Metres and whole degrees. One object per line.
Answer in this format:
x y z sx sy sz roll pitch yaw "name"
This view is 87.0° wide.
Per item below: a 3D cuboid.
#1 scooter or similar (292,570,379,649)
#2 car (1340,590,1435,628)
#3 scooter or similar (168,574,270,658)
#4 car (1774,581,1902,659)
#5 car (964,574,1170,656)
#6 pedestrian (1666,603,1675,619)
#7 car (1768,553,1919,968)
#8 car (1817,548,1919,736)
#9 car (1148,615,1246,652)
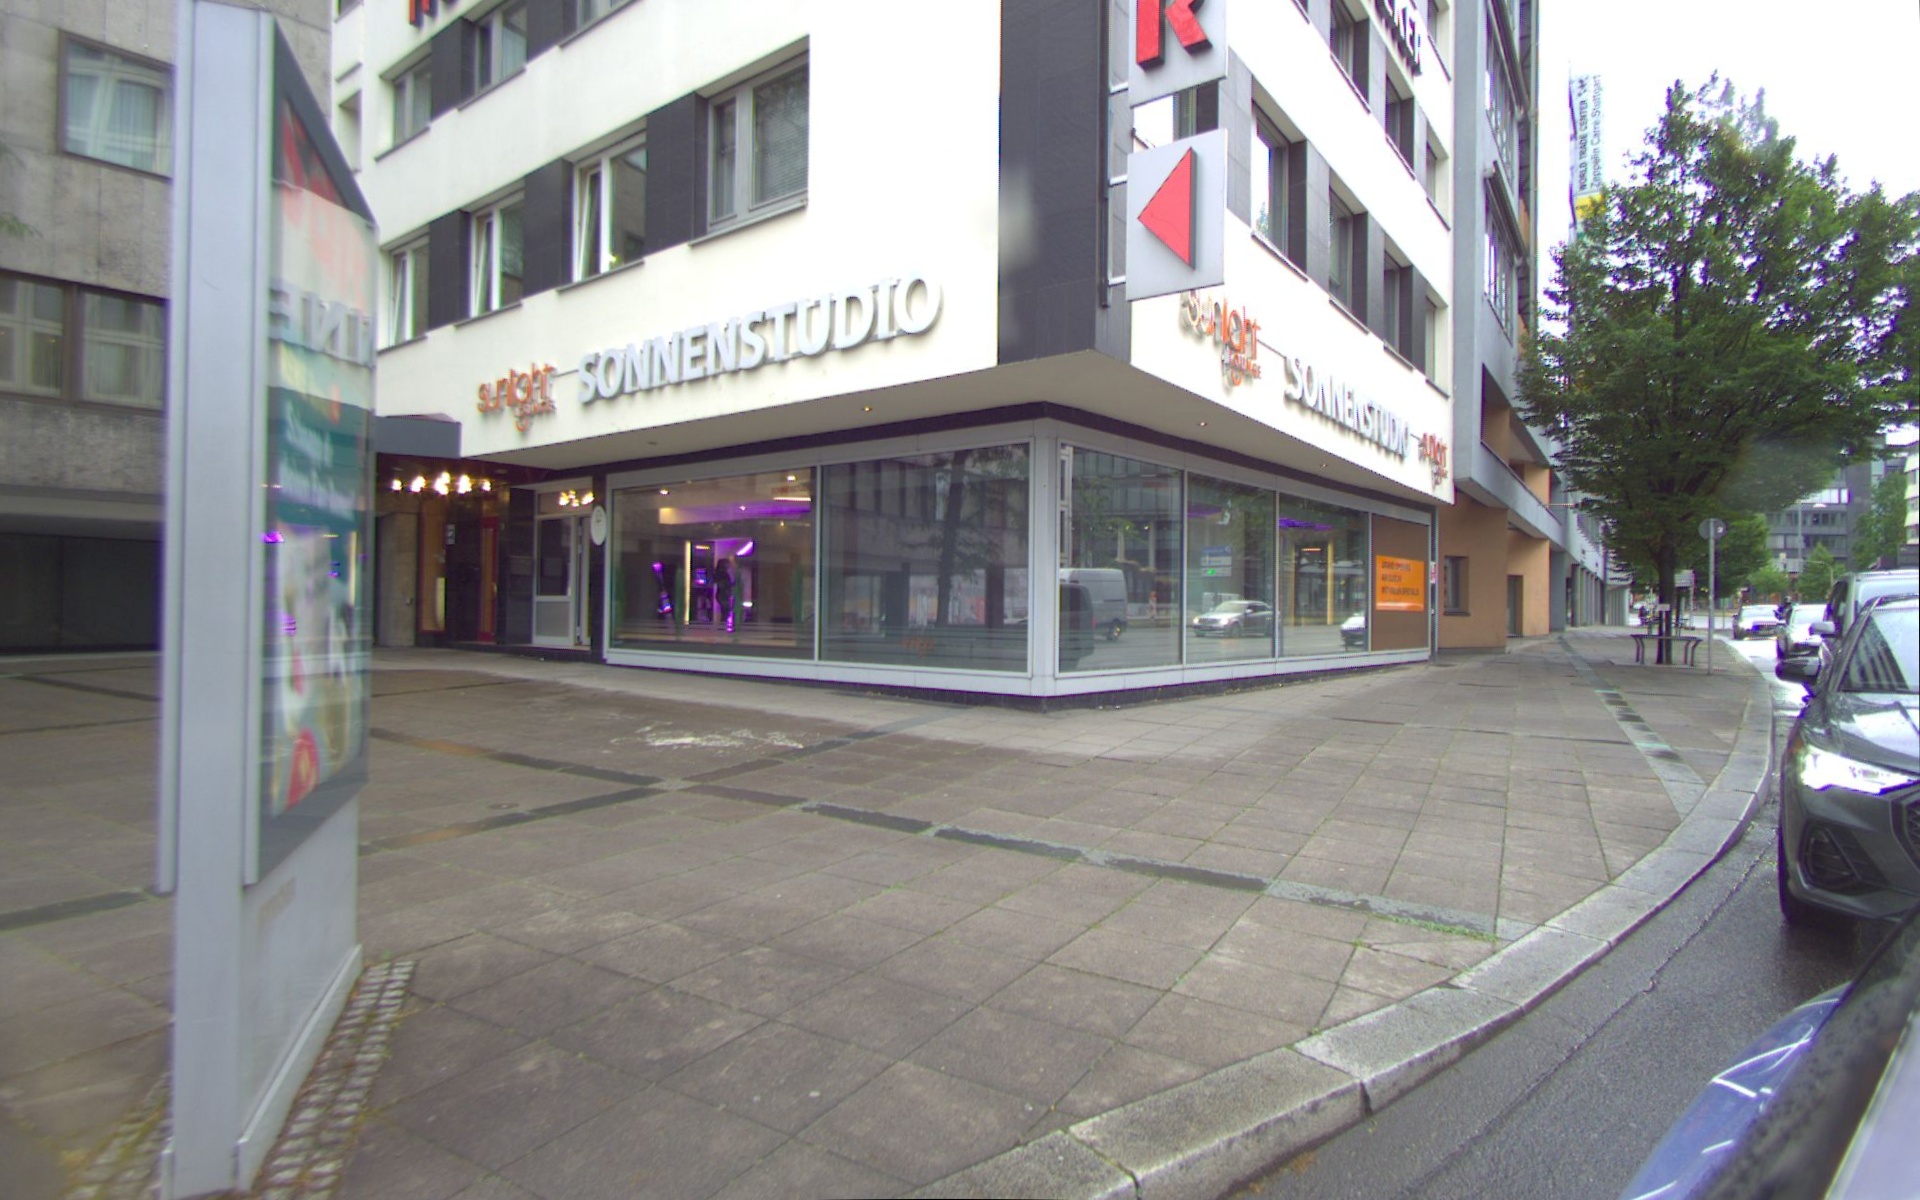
-11.136 0.163 18.081 0.516 1.354 1.215 -2 -1 37 "scooter or similar"
14.759 0.296 34.850 1.716 1.209 3.937 -2 0 44 "car"
-11.802 0.235 16.144 0.562 1.269 1.215 2 1 37 "scooter or similar"
23.557 0.473 27.345 2.047 1.916 4.985 -2 0 35 "car"
2.490 0.276 22.550 1.994 1.629 4.849 -2 0 44 "car"
72.665 1.147 103.473 0.648 1.618 1.047 -2 -1 30 "pedestrian"
5.465 0.569 5.046 1.797 1.572 4.318 -2 0 44 "car"
11.587 0.386 11.967 2.053 1.916 4.973 -2 0 42 "car"
9.140 1.284 39.120 3.366 1.347 1.548 -1 0 34 "car"
